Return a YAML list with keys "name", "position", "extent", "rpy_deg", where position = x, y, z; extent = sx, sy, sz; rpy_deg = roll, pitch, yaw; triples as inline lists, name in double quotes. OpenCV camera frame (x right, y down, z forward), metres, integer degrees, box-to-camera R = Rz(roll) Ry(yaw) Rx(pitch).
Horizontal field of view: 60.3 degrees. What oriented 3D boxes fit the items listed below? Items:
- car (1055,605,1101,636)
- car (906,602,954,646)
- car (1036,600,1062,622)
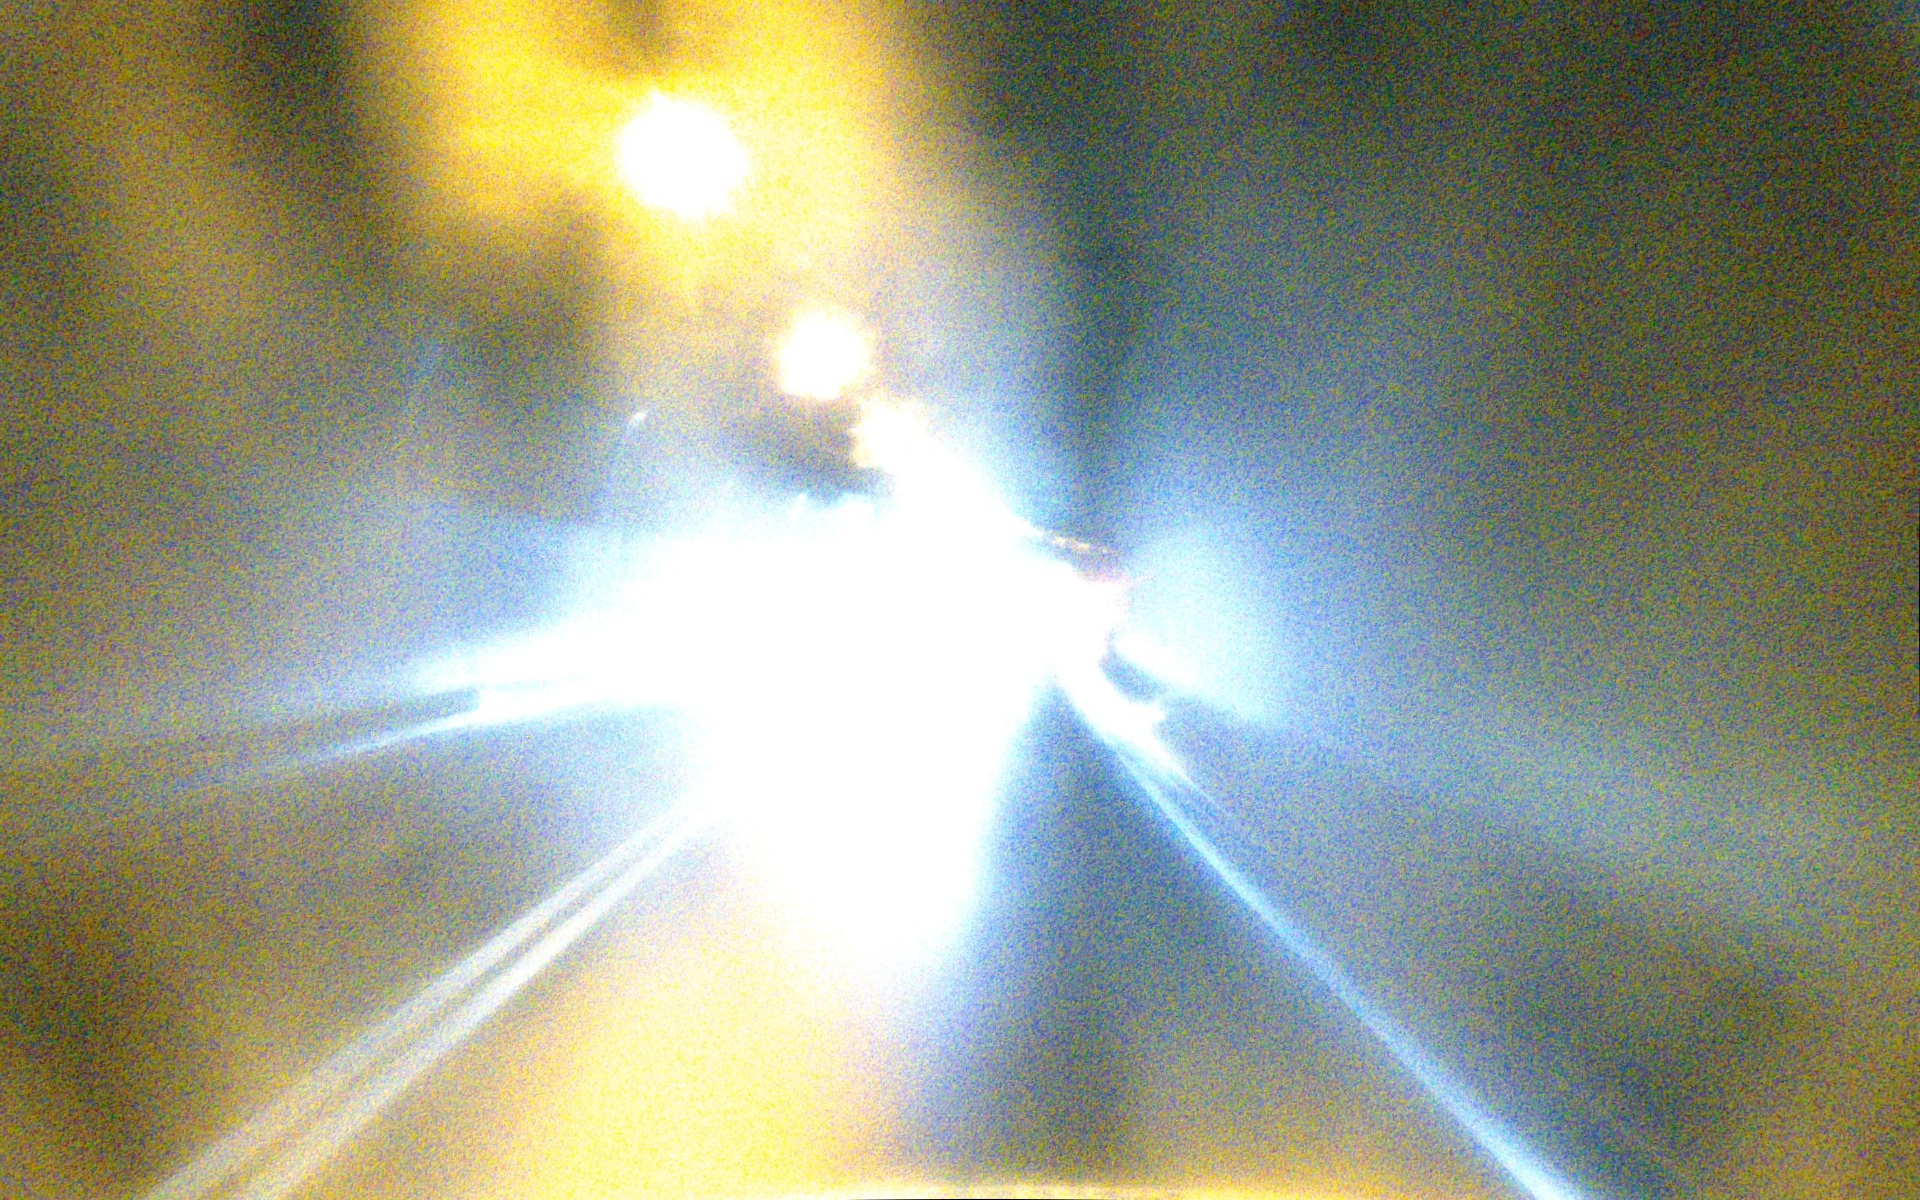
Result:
- name: "car"
  position: [6.630, 1.121, 92.557]
  extent: [1.951, 1.679, 4.003]
  rpy_deg: [1, 0, 13]
- name: "car"
  position: [-1.078, 0.825, 58.264]
  extent: [1.593, 1.472, 3.934]
  rpy_deg: [1, 0, -2]
- name: "car"
  position: [5.859, 0.718, 108.133]
  extent: [1.595, 1.422, 4.002]
  rpy_deg: [1, 0, 4]
